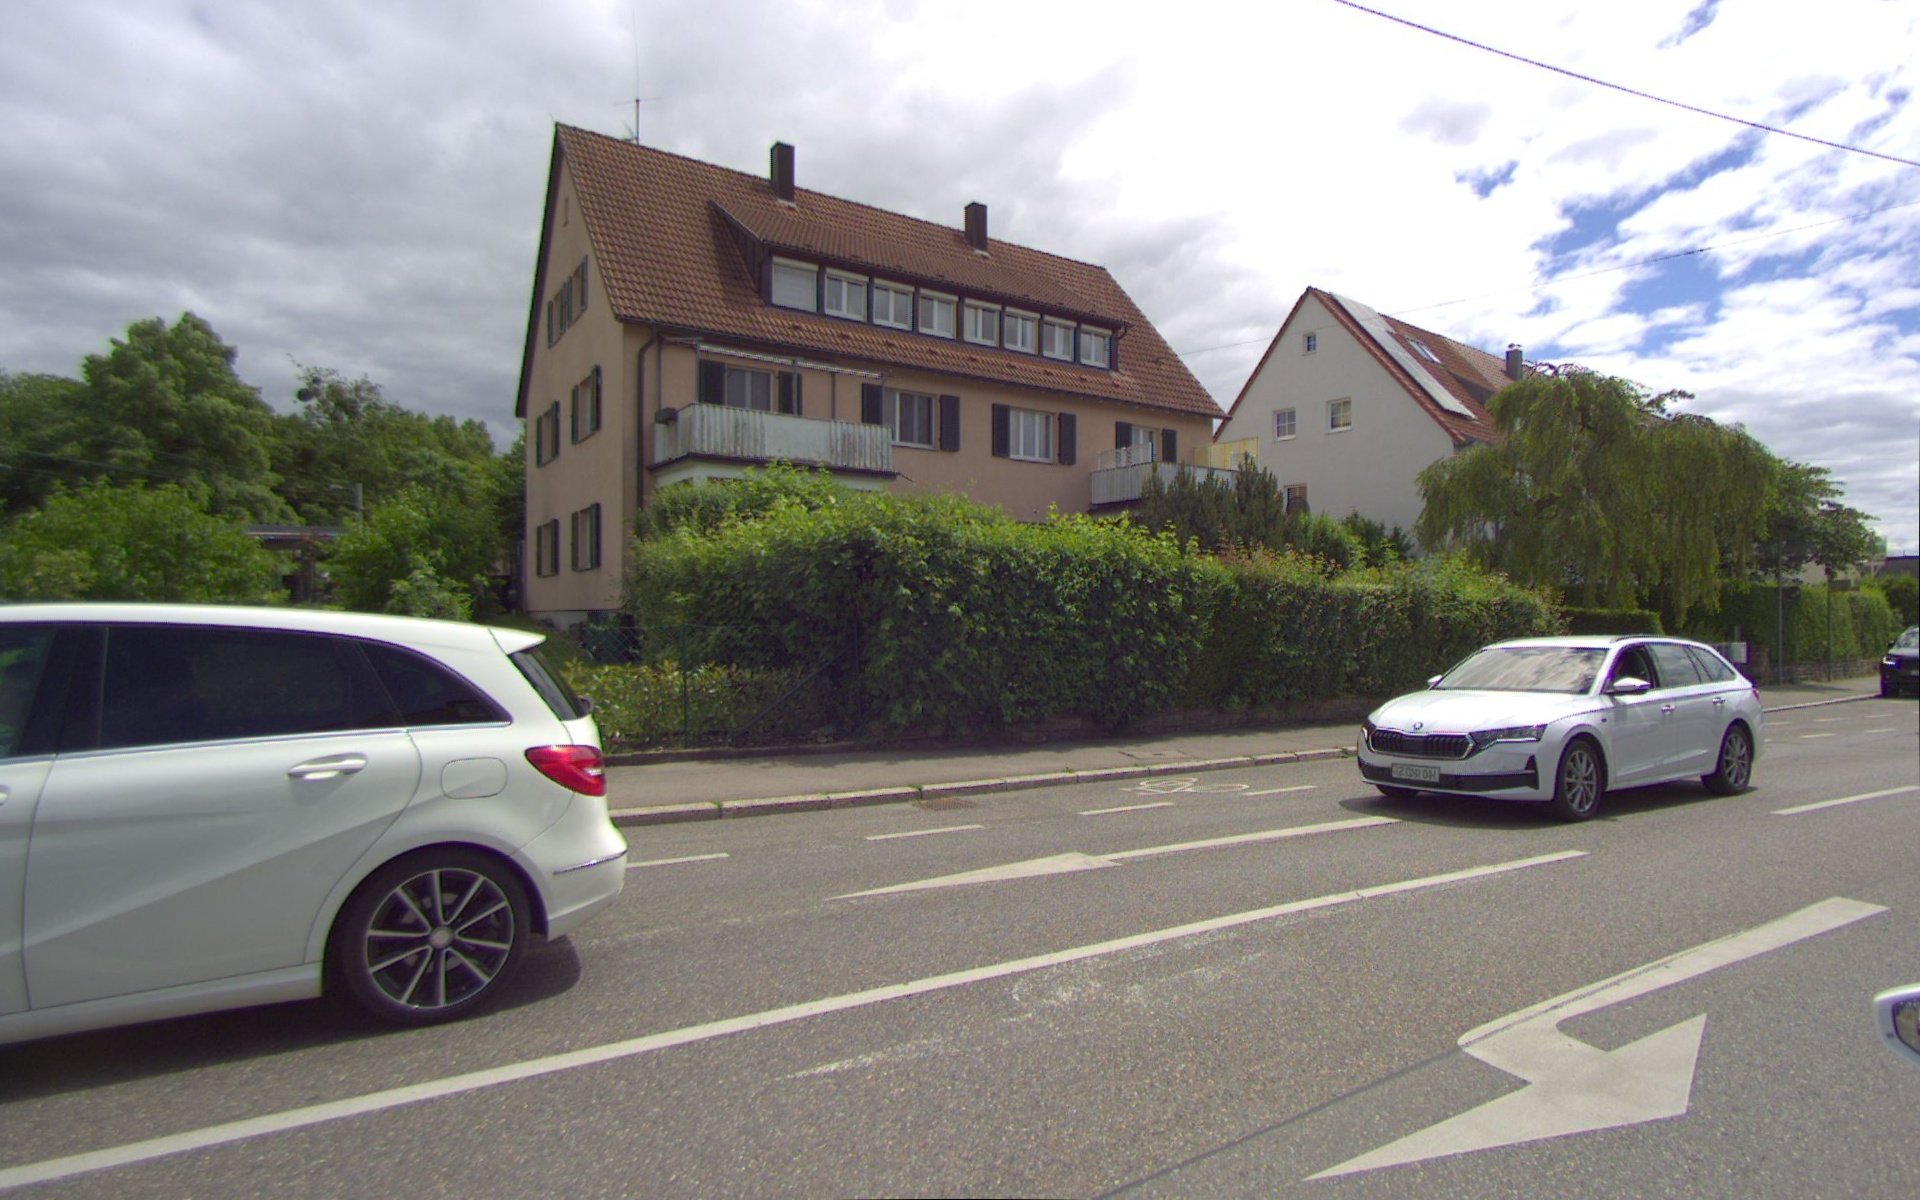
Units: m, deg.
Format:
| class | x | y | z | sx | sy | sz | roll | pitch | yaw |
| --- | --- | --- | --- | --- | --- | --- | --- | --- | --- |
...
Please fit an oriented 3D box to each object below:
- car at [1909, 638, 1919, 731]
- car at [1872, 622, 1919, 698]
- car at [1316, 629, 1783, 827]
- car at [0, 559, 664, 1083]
| class | x | y | z | sx | sy | sz | roll | pitch | yaw |
| --- | --- | --- | --- | --- | --- | --- | --- | --- | --- |
| car | 17.081 | 1.322 | 16.092 | 3.964 | 1.448 | 1.766 | 1 | -4 | -32 |
| car | 25.205 | 1.515 | 25.915 | 3.972 | 1.870 | 1.762 | 2 | -3 | -37 |
| car | 5.528 | 1.030 | 9.285 | 4.470 | 1.448 | 1.767 | 1 | -4 | -31 |
| car | -3.414 | 0.716 | 3.793 | 4.121 | 1.582 | 1.767 | 1 | -4 | -31 |
